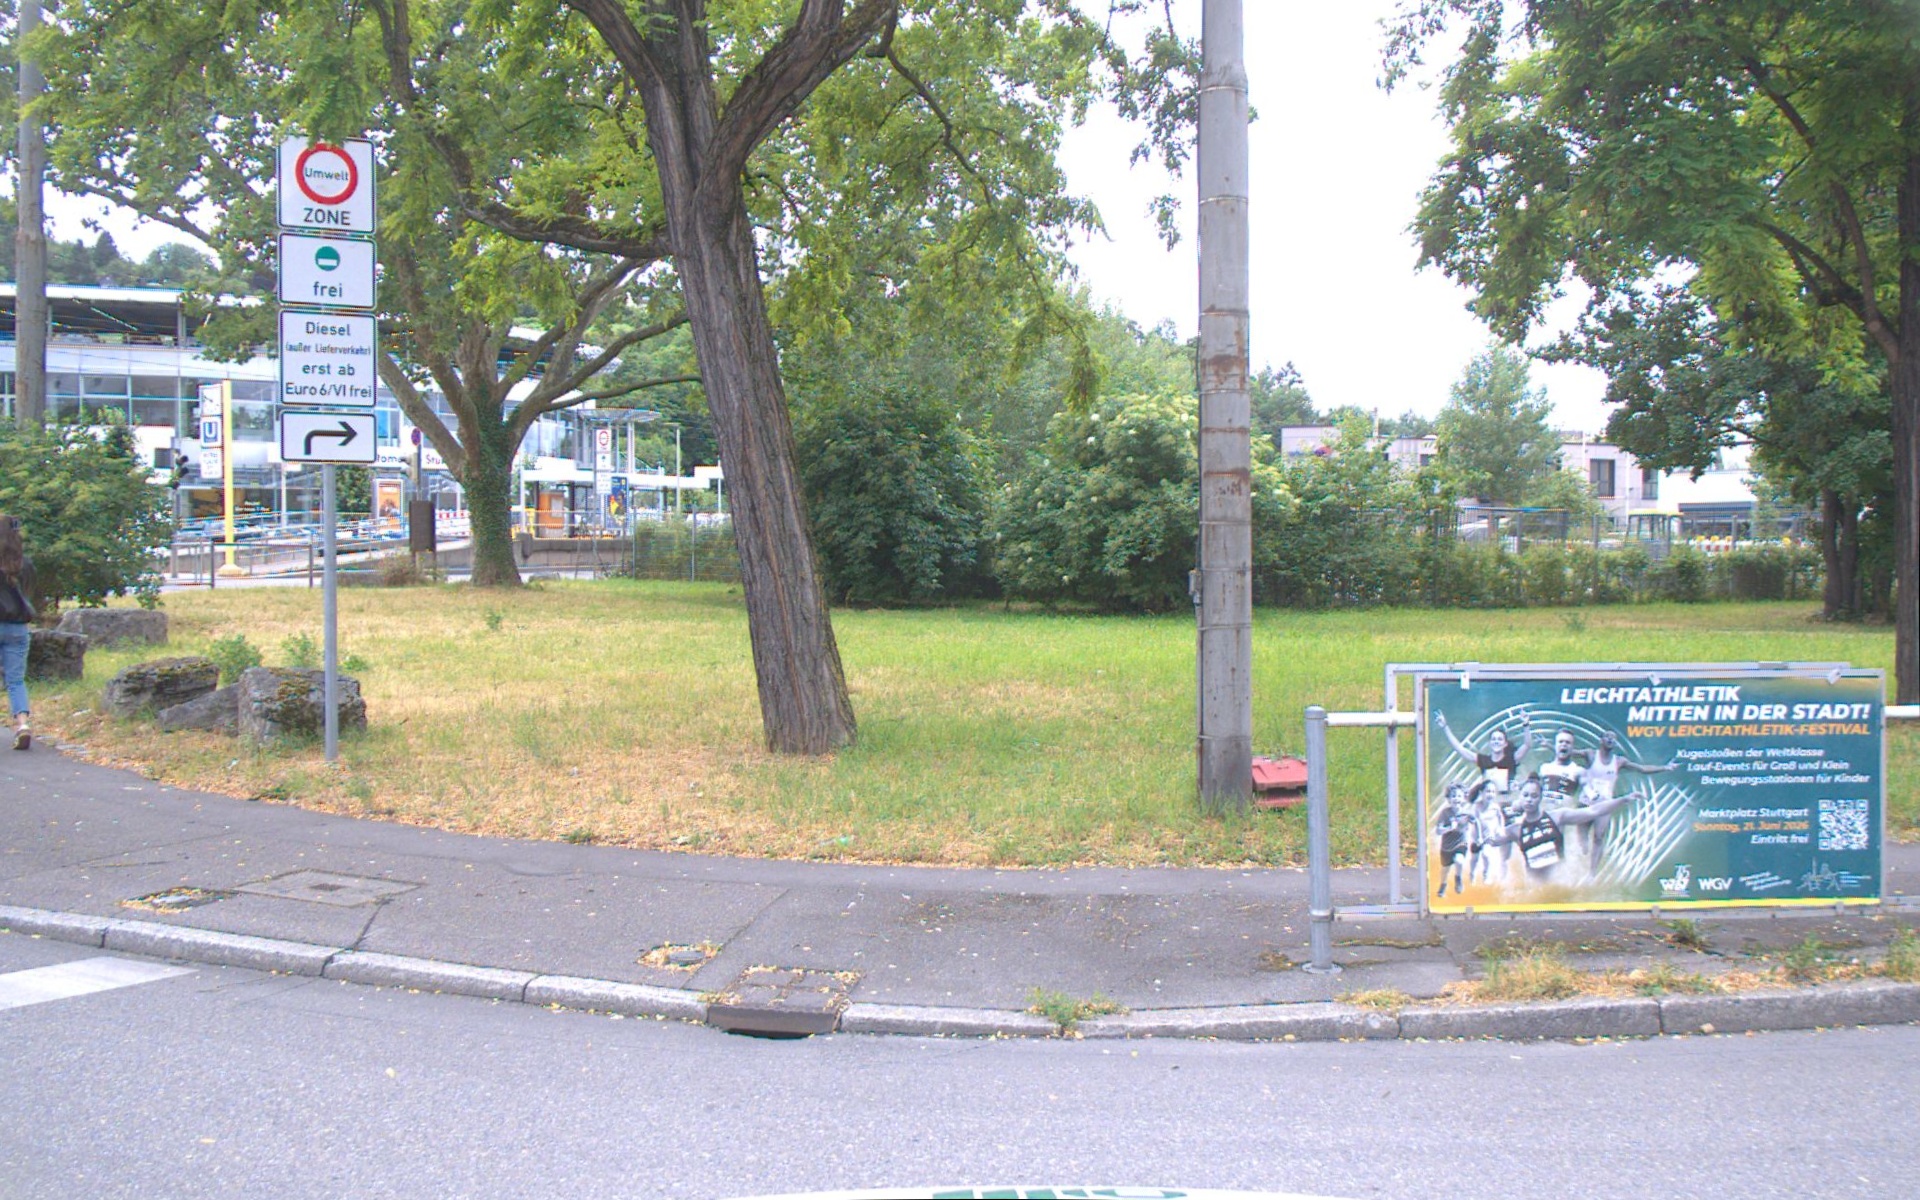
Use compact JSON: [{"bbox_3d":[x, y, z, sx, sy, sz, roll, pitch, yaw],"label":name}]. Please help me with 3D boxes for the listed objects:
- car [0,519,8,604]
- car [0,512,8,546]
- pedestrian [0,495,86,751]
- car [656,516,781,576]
[{"bbox_3d":[-19.318,-0.646,28.447,1.766,1.533,4.886,2,3,31],"label":"car"},{"bbox_3d":[-44.350,-3.134,72.559,4.113,1.517,1.797,0,2,1],"label":"car"},{"bbox_3d":[-6.835,0.141,11.828,0.771,1.770,0.694,1,2,28],"label":"pedestrian"},{"bbox_3d":[-8.562,-1.949,59.113,1.927,2.048,5.300,2,3,23],"label":"car"}]
